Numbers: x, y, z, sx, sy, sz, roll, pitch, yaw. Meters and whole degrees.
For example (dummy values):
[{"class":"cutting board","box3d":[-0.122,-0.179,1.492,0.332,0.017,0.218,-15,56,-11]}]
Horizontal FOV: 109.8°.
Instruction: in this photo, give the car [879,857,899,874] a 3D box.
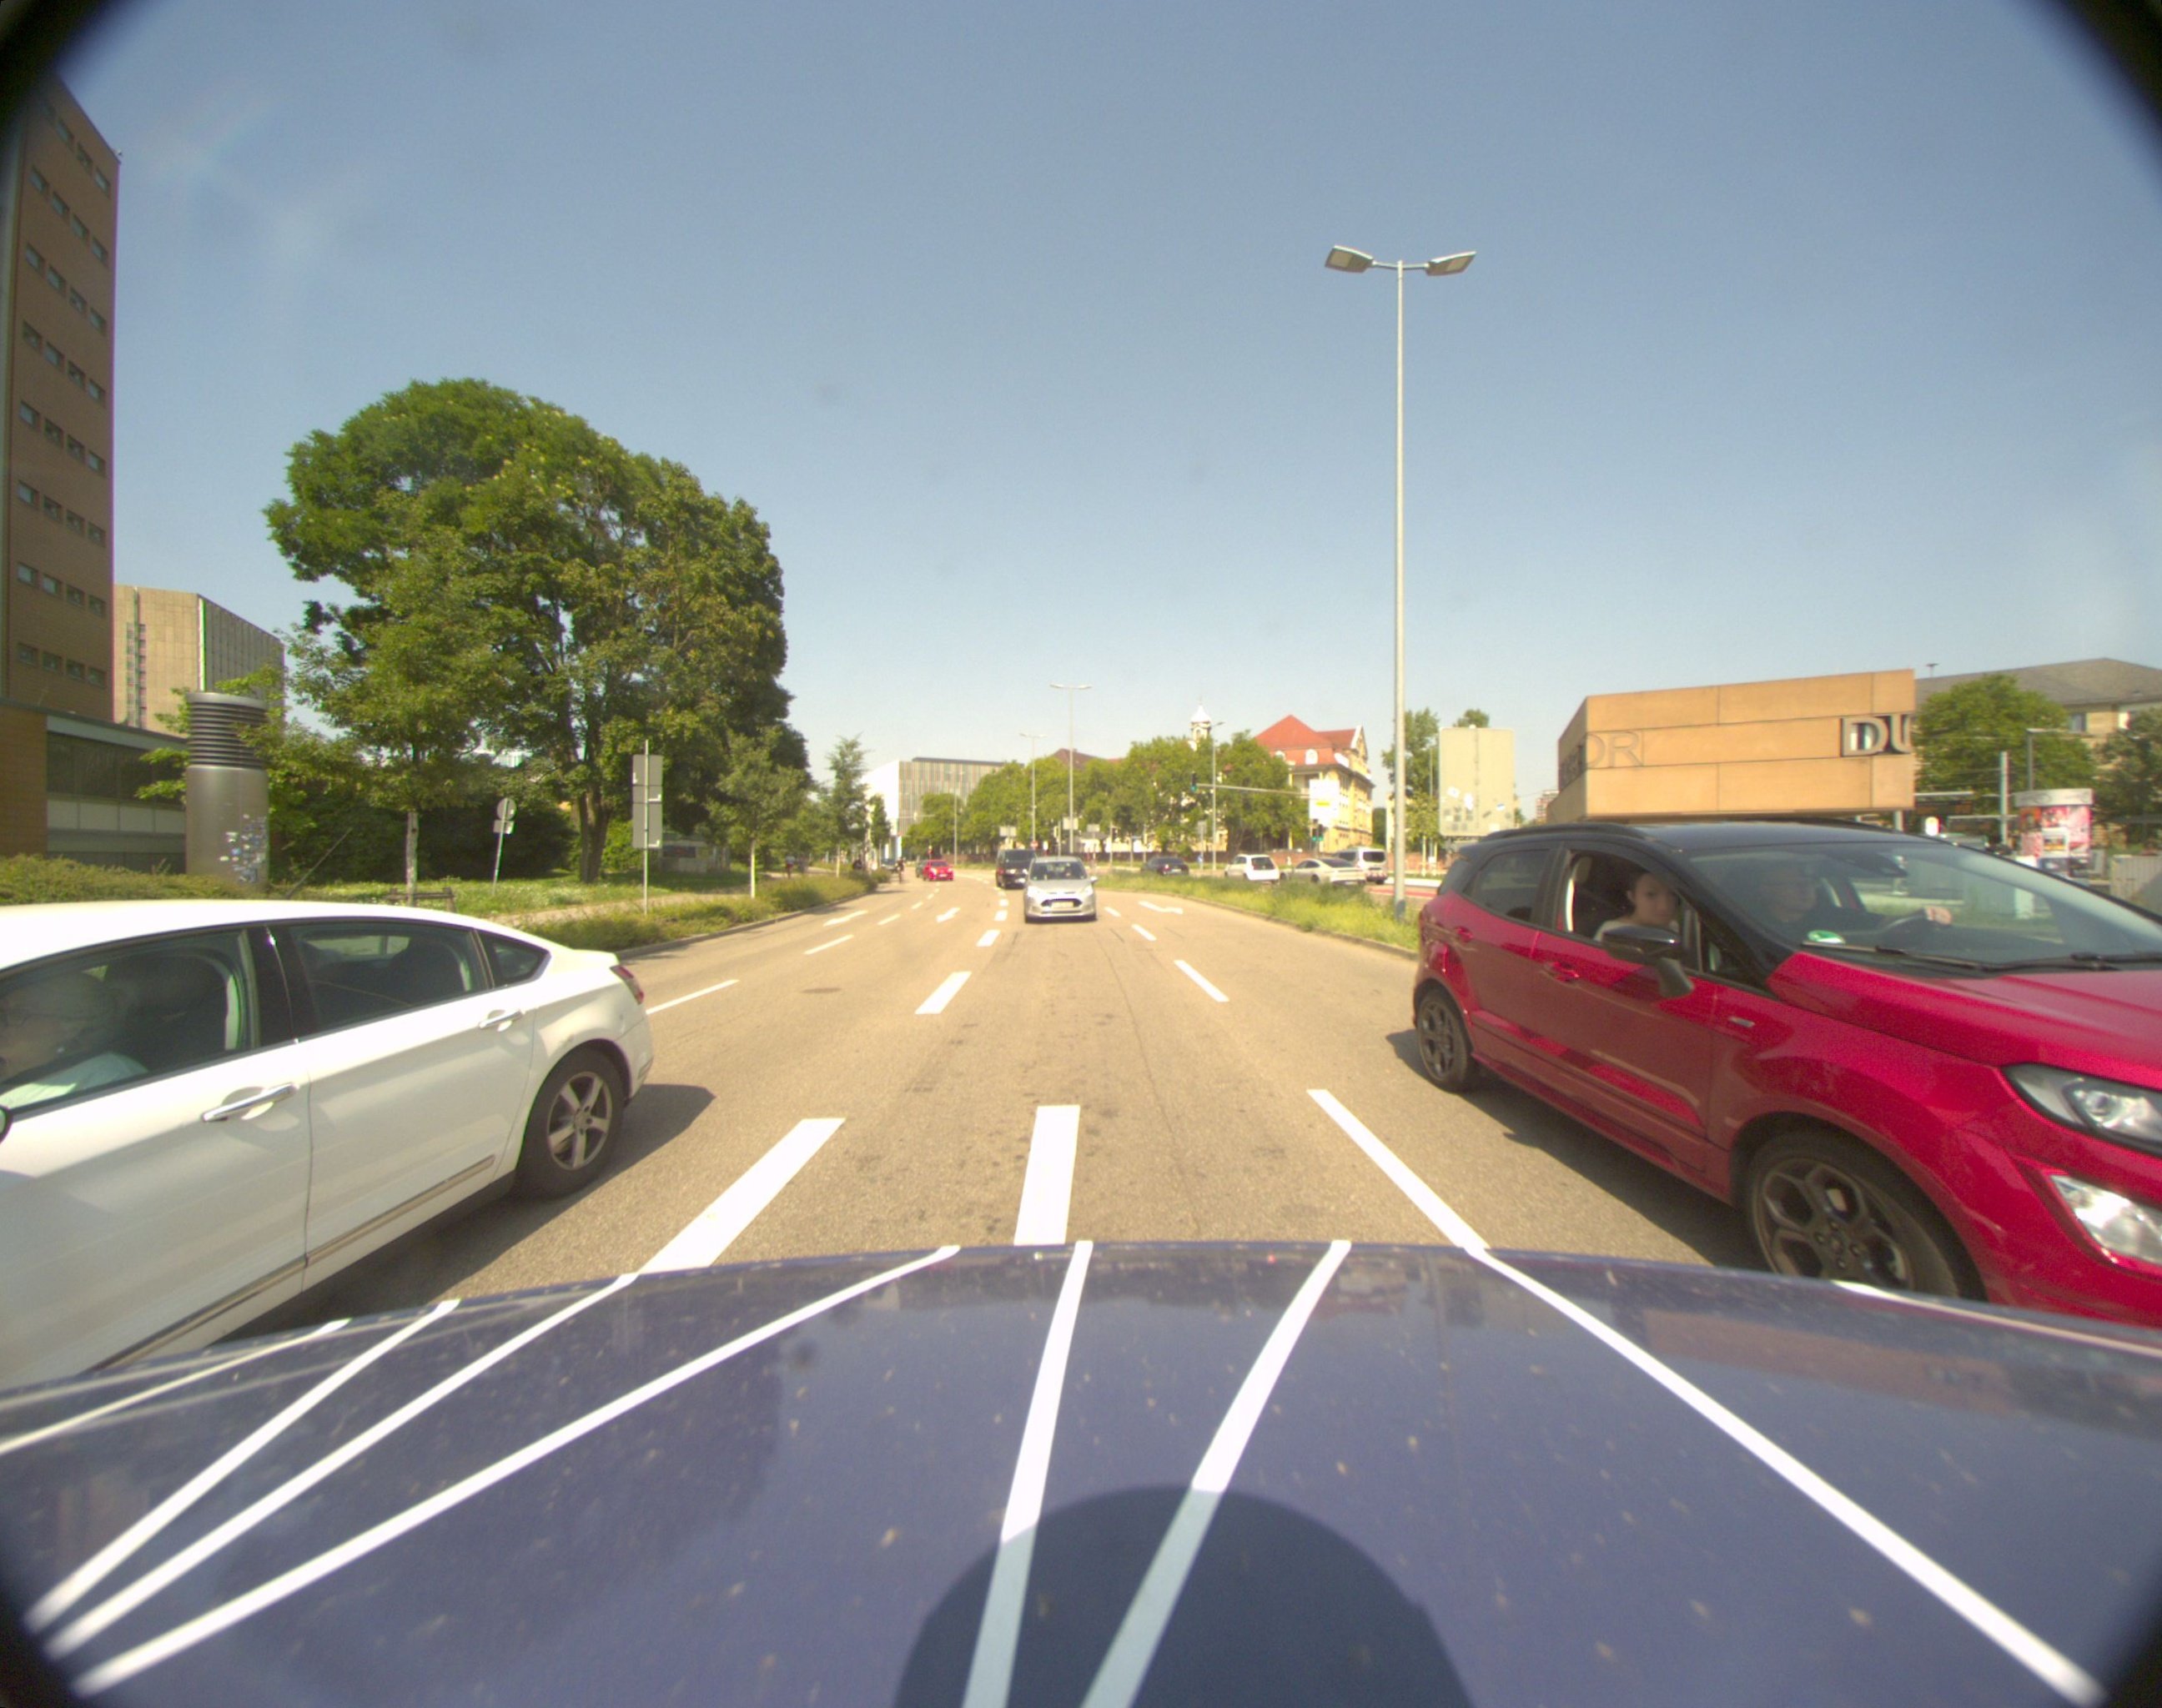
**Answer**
[{"class":"car","box3d":[-20.193,1.205,80.109,1.812,1.652,3.995,0,0,-12]}]

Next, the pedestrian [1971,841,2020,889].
[{"class":"pedestrian","box3d":[28.417,0.332,23.610,0.771,1.488,0.606,0,1,-1]}]

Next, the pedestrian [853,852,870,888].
[{"class":"pedestrian","box3d":[-11.814,0.857,40.884,0.823,1.892,0.630,-1,1,-12]}]

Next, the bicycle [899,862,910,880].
[{"class":"bicycle","box3d":[-11.385,1.081,48.938,0.595,1.162,2.232,-1,0,-15]}]

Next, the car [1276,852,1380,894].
[{"class":"car","box3d":[10.062,0.726,31.398,2.001,1.576,4.710,0,0,-12]}]

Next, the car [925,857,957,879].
[{"class":"car","box3d":[-9.715,0.963,52.534,1.652,1.422,3.810,-2,0,-18]}]

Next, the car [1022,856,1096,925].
[{"class":"car","box3d":[-0.477,0.839,19.643,1.658,1.521,4.533,-2,0,1]}]

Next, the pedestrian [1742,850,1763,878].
[{"class":"pedestrian","box3d":[26.764,0.394,30.278,0.538,1.093,0.543,0,1,32]}]

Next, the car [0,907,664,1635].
[{"class":"car","box3d":[-3.275,1.020,1.953,1.773,1.420,4.609,0,0,1]}]

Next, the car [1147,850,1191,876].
[{"class":"car","box3d":[4.835,0.478,42.115,1.526,1.417,3.474,0,0,-8]}]

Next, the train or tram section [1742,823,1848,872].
[{"class":"train or tram section","box3d":[55.485,-0.464,59.553,2.698,3.418,13.446,0,0,28]}]

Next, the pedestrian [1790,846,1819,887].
[{"class":"pedestrian","box3d":[26.681,0.453,28.016,0.539,1.488,0.541,0,1,-1]}]

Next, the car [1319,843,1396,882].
[{"class":"car","box3d":[13.811,0.374,38.182,1.869,1.843,3.911,0,1,-11]}]

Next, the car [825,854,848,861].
[{"class":"car","box3d":[-53.994,0.691,167.544,4.429,1.380,1.767,-2,0,-36]}]

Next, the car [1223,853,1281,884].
[{"class":"car","box3d":[8.654,0.699,38.800,1.527,1.470,3.473,0,0,-13]}]

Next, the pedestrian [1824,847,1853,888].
[{"class":"pedestrian","box3d":[27.913,0.498,27.999,0.539,1.488,0.541,0,1,-1]}]

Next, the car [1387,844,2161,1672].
[{"class":"car","box3d":[2.958,0.778,3.332,1.694,1.577,3.845,-2,0,1]}]

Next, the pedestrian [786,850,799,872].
[{"class":"pedestrian","box3d":[-17.228,0.424,45.413,0.635,1.291,0.486,-3,1,-17]}]

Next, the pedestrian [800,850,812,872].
[{"class":"pedestrian","box3d":[-16.494,0.390,45.548,0.577,1.291,0.437,-3,1,-18]}]

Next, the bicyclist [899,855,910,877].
[{"class":"bicyclist","box3d":[-11.398,0.739,49.022,0.680,1.392,1.048,-1,1,-14]}]

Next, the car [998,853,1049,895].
[{"class":"car","box3d":[-2.929,0.926,37.594,1.892,1.908,4.528,-2,0,-12]}]

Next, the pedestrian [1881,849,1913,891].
[{"class":"pedestrian","box3d":[28.790,0.553,26.814,0.539,1.488,0.541,0,1,-1]}]
